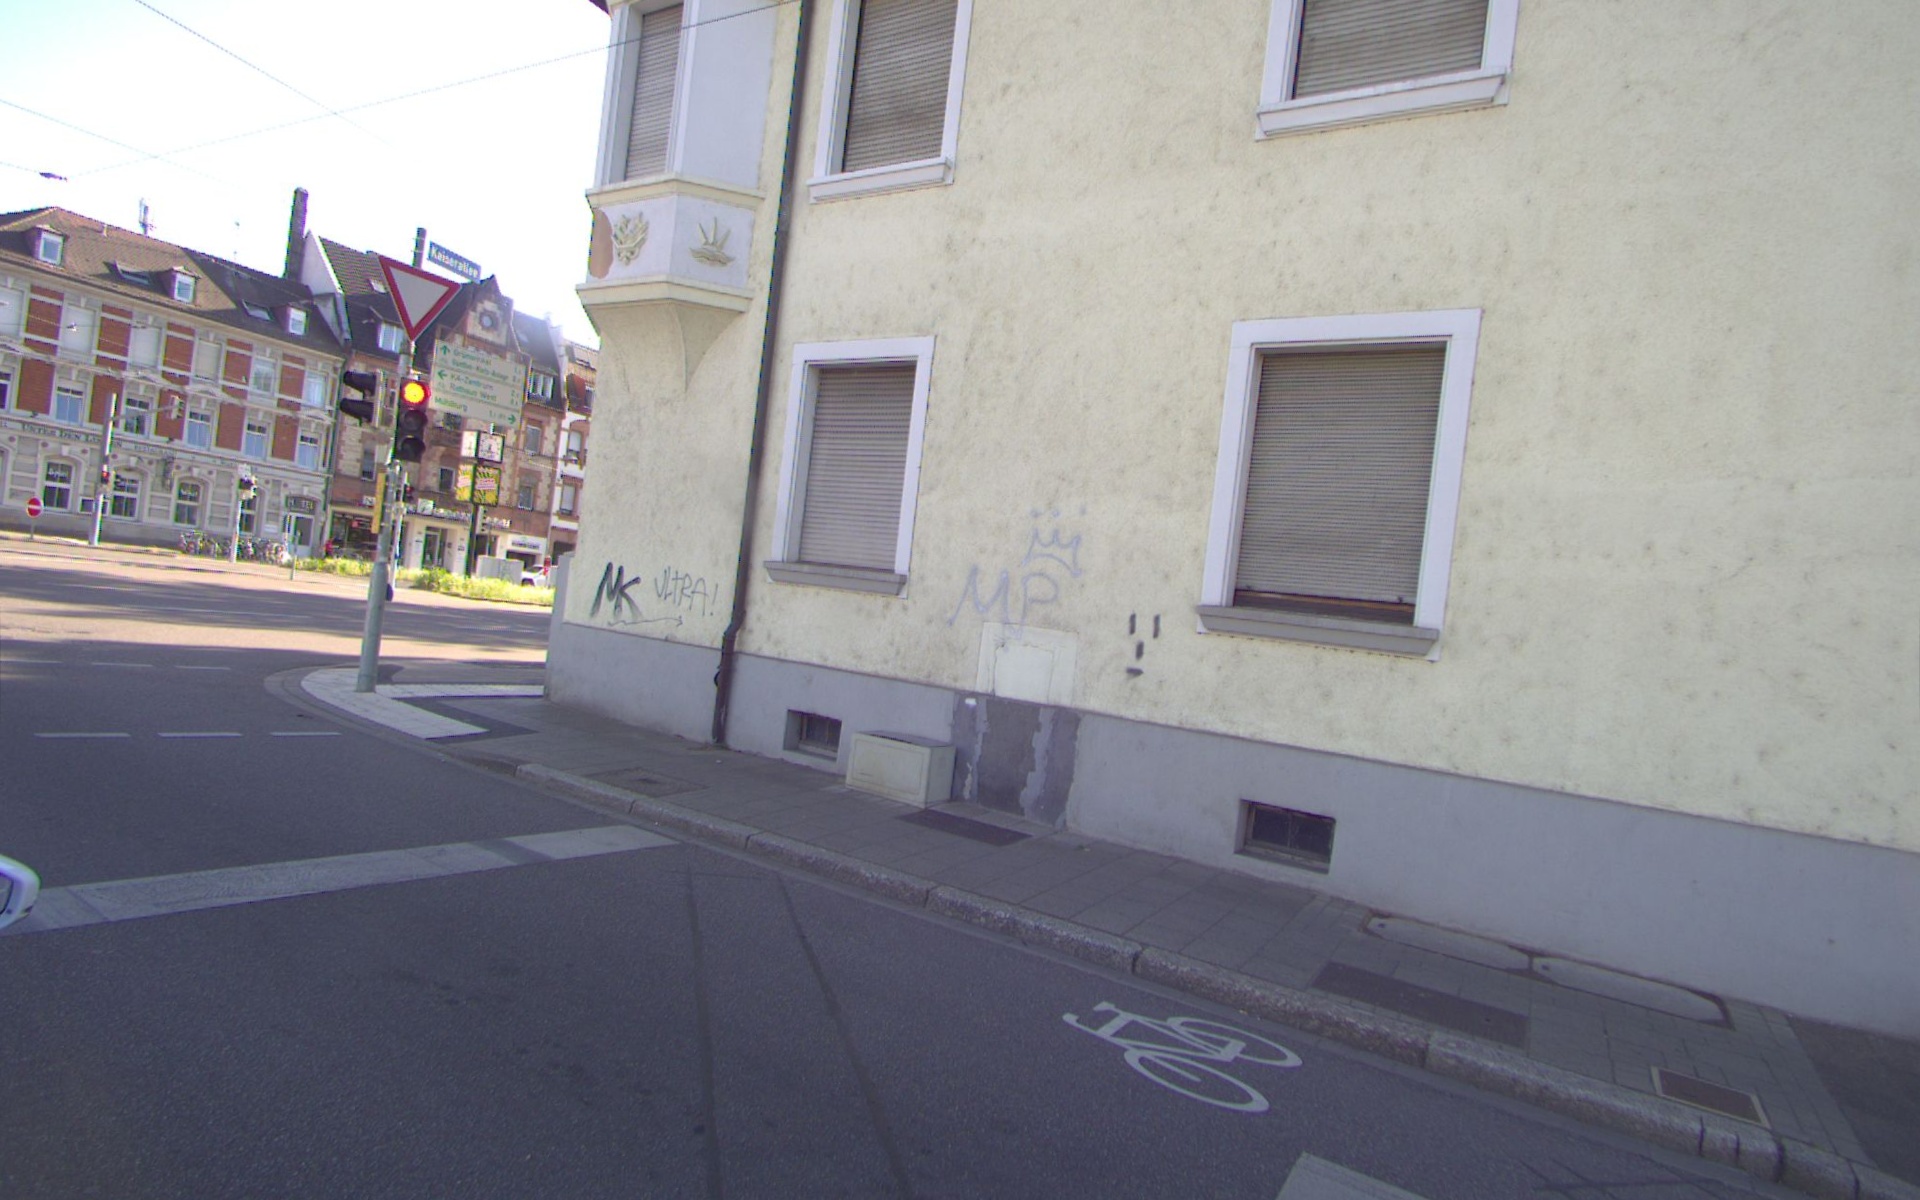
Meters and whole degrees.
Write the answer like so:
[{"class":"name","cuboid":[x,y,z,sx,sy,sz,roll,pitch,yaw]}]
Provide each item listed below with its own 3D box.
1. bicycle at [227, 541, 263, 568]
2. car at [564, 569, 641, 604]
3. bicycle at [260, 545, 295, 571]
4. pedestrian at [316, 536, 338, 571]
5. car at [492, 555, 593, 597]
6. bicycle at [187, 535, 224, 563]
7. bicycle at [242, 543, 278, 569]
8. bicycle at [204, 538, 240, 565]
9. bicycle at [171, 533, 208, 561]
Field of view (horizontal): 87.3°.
[{"class":"bicycle","cuboid":[-33.653,-2.155,47.341,1.614,1.064,0.606,7,0,27]},{"class":"car","cuboid":[-23.128,-0.866,65.309,1.966,1.674,4.378,7,-1,29]},{"class":"bicycle","cuboid":[-32.985,-2.017,48.588,1.614,1.064,0.606,7,0,27]},{"class":"pedestrian","cuboid":[-33.640,-2.455,53.463,0.414,1.773,0.709,7,0,33]},{"class":"car","cuboid":[-23.113,-1.297,55.880,1.967,1.680,4.855,7,-1,31]},{"class":"bicycle","cuboid":[-34.650,-2.332,46.195,1.614,1.064,0.606,7,0,27]},{"class":"bicycle","cuboid":[-33.359,-2.091,47.951,1.614,1.064,0.606,7,0,27]},{"class":"bicycle","cuboid":[-34.319,-2.265,46.770,1.614,1.064,0.606,7,0,27]},{"class":"bicycle","cuboid":[-34.949,-2.395,45.612,1.614,1.064,0.606,7,0,27]}]
